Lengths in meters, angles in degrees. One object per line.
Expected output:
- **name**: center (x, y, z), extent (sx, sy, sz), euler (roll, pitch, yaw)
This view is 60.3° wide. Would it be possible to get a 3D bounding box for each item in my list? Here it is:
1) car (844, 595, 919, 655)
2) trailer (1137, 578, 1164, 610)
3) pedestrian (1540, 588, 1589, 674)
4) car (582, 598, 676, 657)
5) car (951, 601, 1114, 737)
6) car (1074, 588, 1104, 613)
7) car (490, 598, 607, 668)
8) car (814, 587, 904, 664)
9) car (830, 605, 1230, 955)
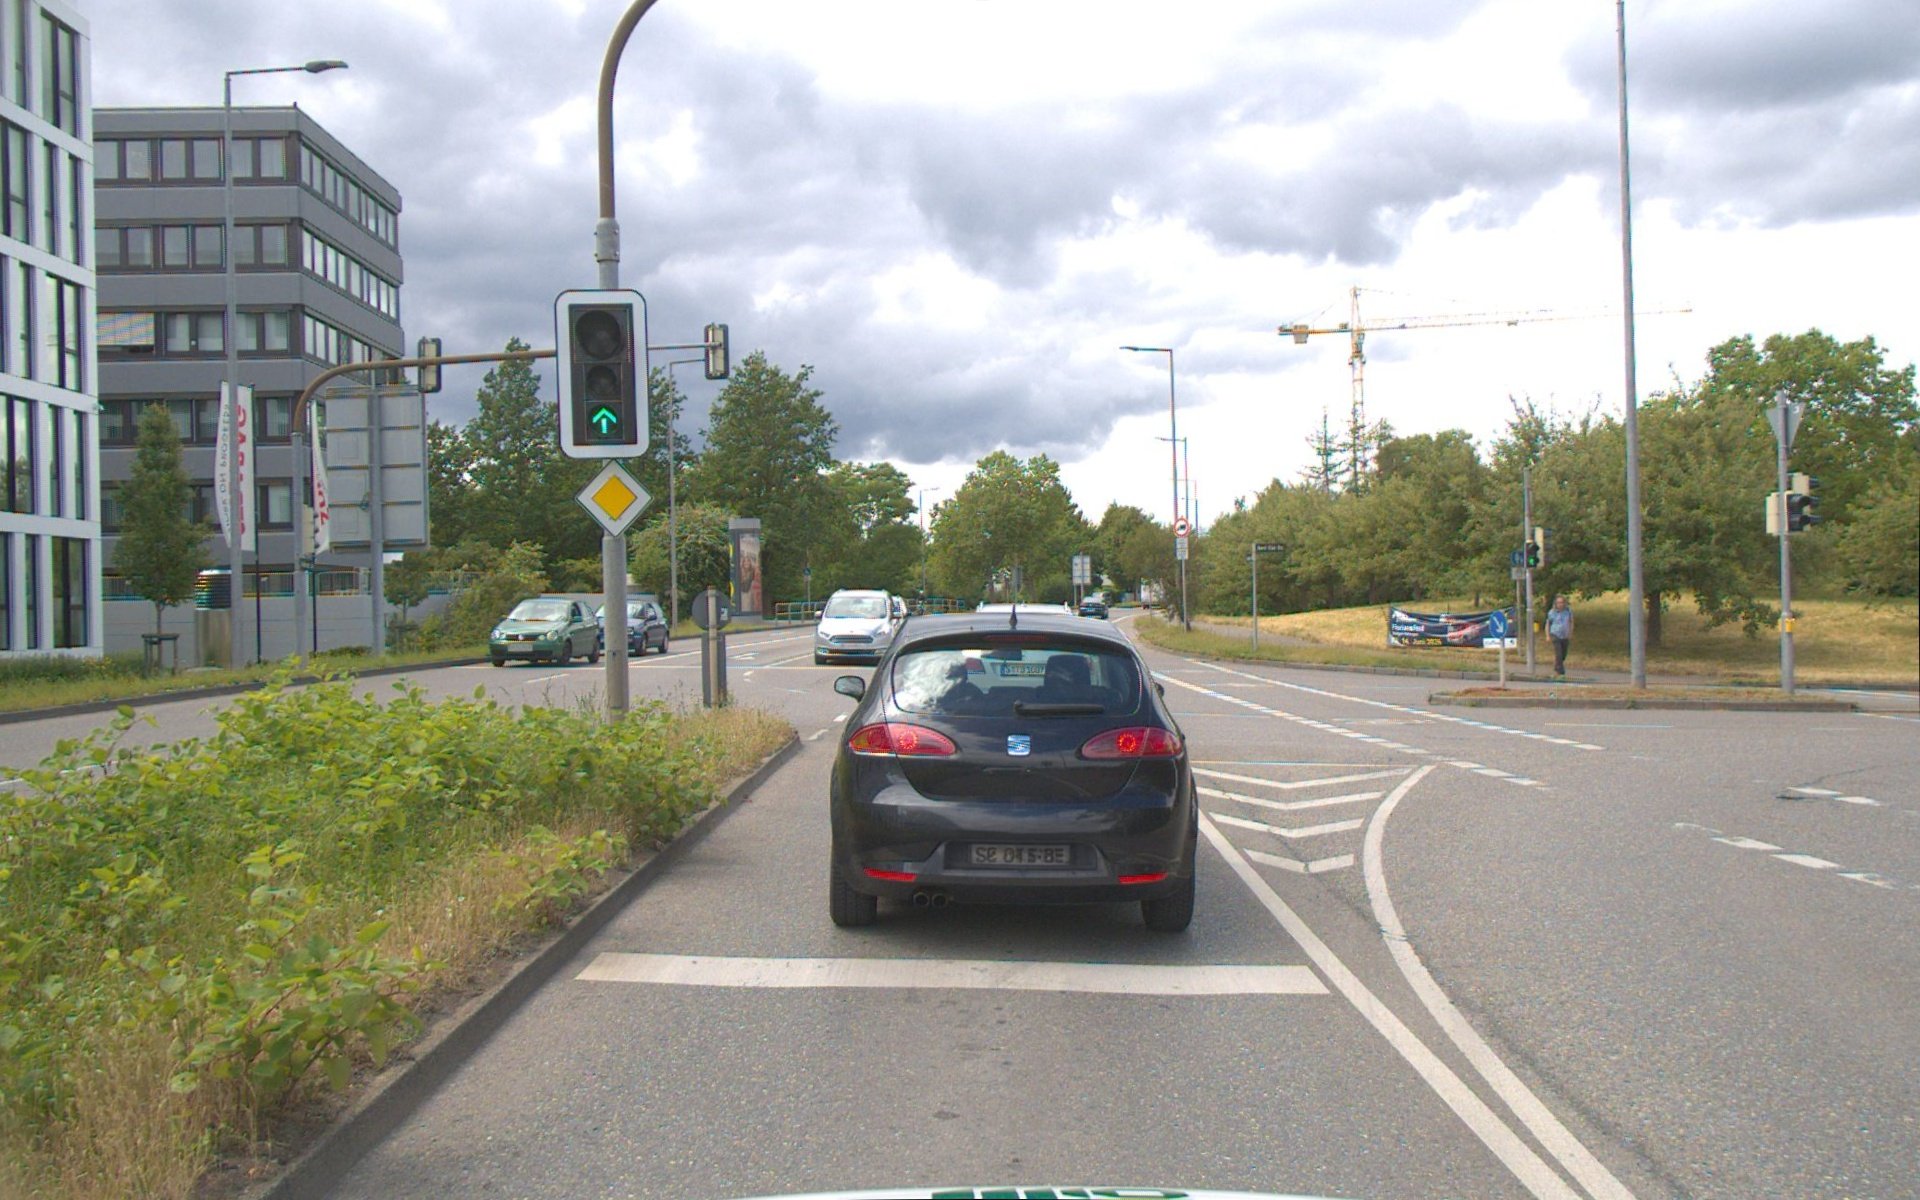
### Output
- **car**: center (-2.121, 0.647, 45.599), extent (1.626, 1.545, 4.086), euler (1, 0, 3)
- **trailer**: center (19.250, -0.609, 166.821), extent (2.438, 3.127, 5.591), euler (1, -1, 9)
- **pedestrian**: center (13.071, 0.668, 35.789), extent (0.703, 1.824, 1.044), euler (1, -1, 3)
- **car**: center (-8.672, 0.686, 43.571), extent (1.521, 1.444, 3.897), euler (0, 0, 2)
- **car**: center (0.818, 0.785, 20.317), extent (1.797, 1.493, 3.751), euler (1, -1, 0)
- **car**: center (8.697, 0.034, 111.381), extent (1.951, 1.593, 4.474), euler (0, 0, 5)
- **car**: center (-9.047, 0.684, 36.649), extent (1.572, 1.457, 3.753), euler (0, 0, 1)
- **car**: center (-2.362, 0.565, 39.597), extent (1.783, 1.716, 4.645), euler (1, 0, 1)
- **car**: center (0.272, 0.767, 8.703), extent (1.676, 1.442, 3.458), euler (1, 0, -1)
